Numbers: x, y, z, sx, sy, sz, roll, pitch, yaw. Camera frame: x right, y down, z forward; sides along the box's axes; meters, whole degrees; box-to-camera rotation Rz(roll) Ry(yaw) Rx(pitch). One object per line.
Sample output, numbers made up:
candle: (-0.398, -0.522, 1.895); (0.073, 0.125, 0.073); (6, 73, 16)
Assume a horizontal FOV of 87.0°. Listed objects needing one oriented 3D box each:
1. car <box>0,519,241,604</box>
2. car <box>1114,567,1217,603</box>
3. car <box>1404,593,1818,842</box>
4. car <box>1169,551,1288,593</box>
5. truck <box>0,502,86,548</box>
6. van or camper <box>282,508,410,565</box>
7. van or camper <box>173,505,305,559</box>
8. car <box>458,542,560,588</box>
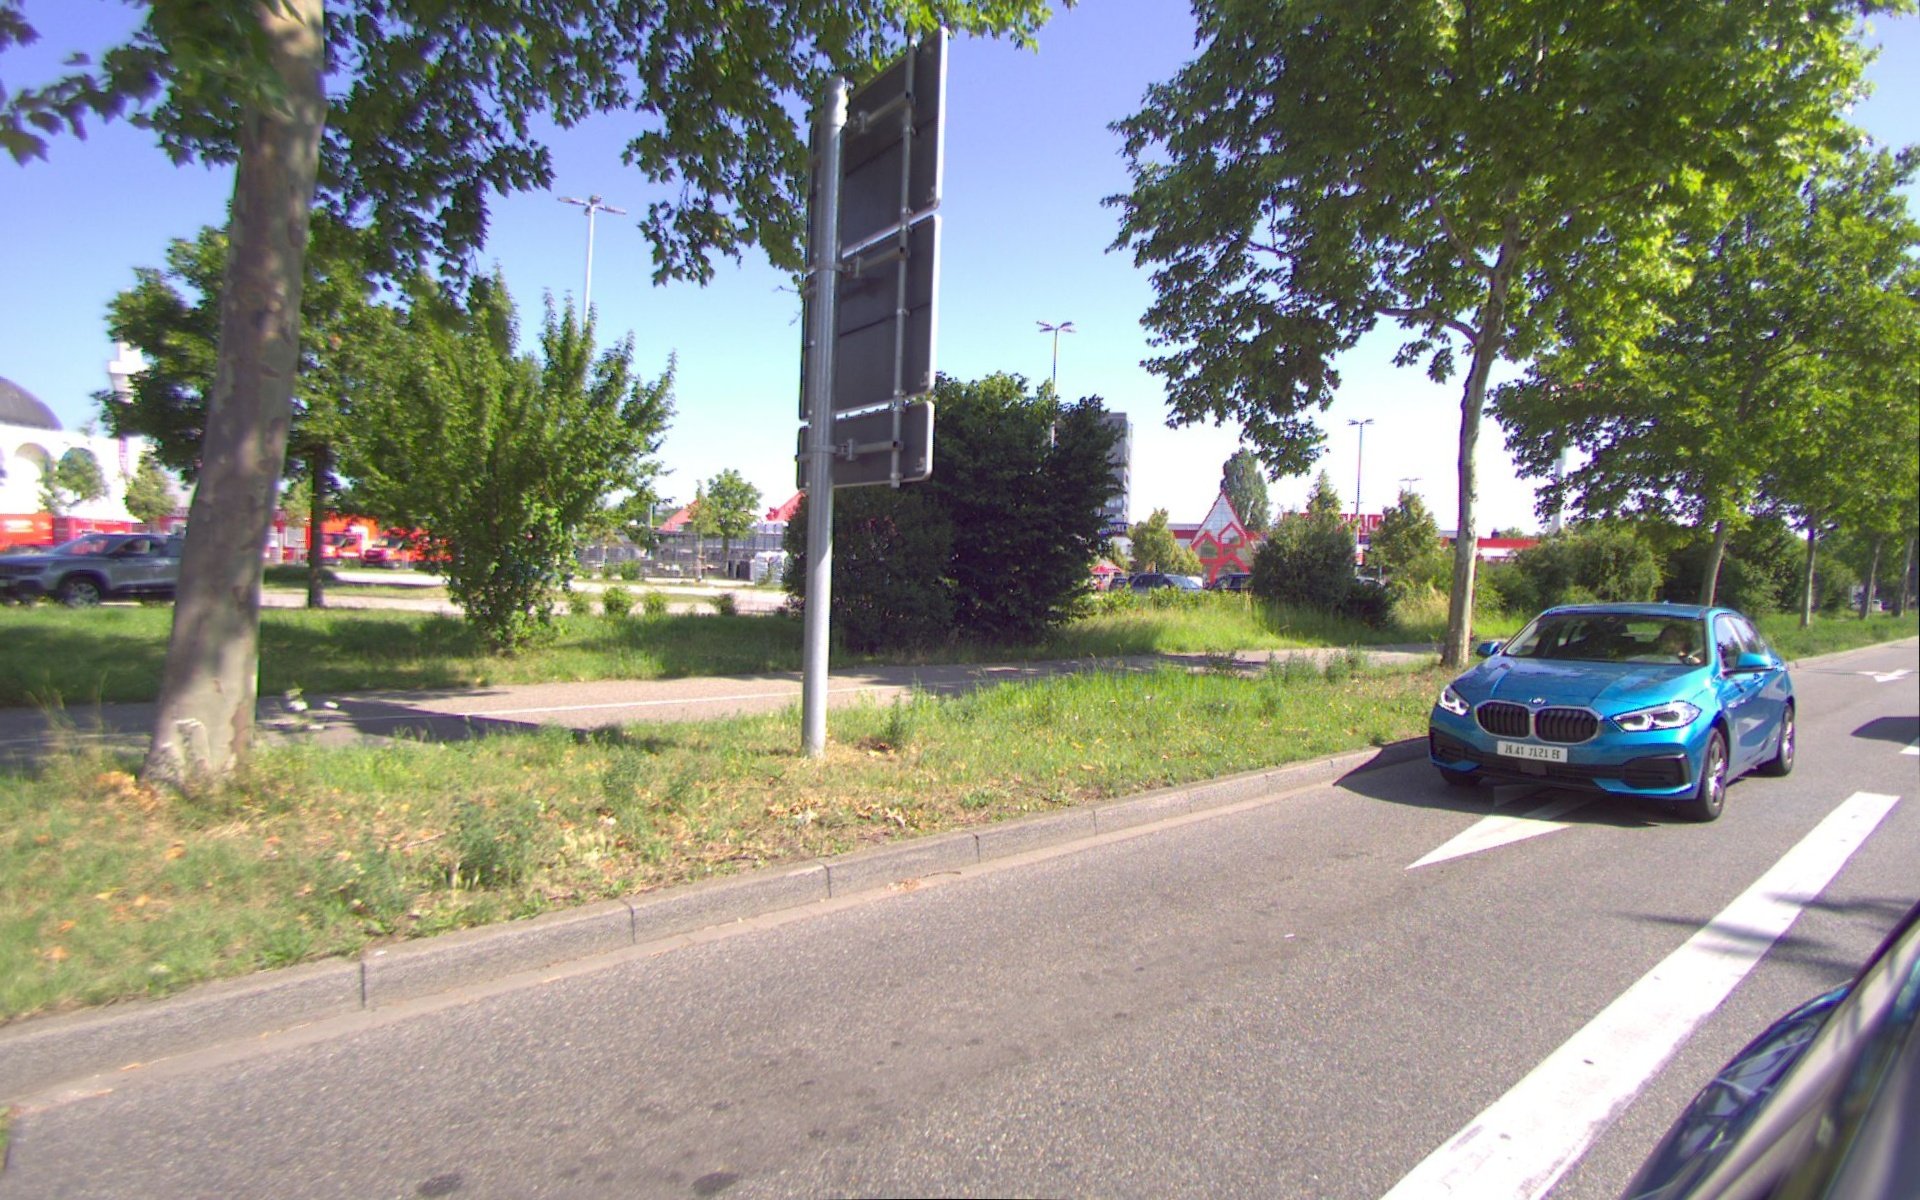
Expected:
car: (-16.392, -0.687, 19.418); (1.879, 1.438, 3.981); (0, 1, 15)
car: (7.422, -0.542, 36.769); (1.584, 1.263, 3.528); (0, 1, -38)
car: (5.400, 0.697, 8.173); (4.061, 1.437, 1.870); (0, 2, -43)
car: (10.133, -1.037, 38.414); (1.963, 1.501, 3.997); (0, 1, -38)
truck: (-54.708, -4.341, 58.930); (1.970, 2.442, 5.758); (0, 1, 13)
van or camper: (-35.950, -3.652, 59.591); (1.970, 2.979, 7.260); (0, 1, 13)
van or camper: (-44.704, -4.137, 63.076); (1.970, 2.979, 7.260); (0, 1, 13)
car: (-16.104, -1.208, 36.301); (1.521, 1.552, 3.470); (0, 1, 15)
